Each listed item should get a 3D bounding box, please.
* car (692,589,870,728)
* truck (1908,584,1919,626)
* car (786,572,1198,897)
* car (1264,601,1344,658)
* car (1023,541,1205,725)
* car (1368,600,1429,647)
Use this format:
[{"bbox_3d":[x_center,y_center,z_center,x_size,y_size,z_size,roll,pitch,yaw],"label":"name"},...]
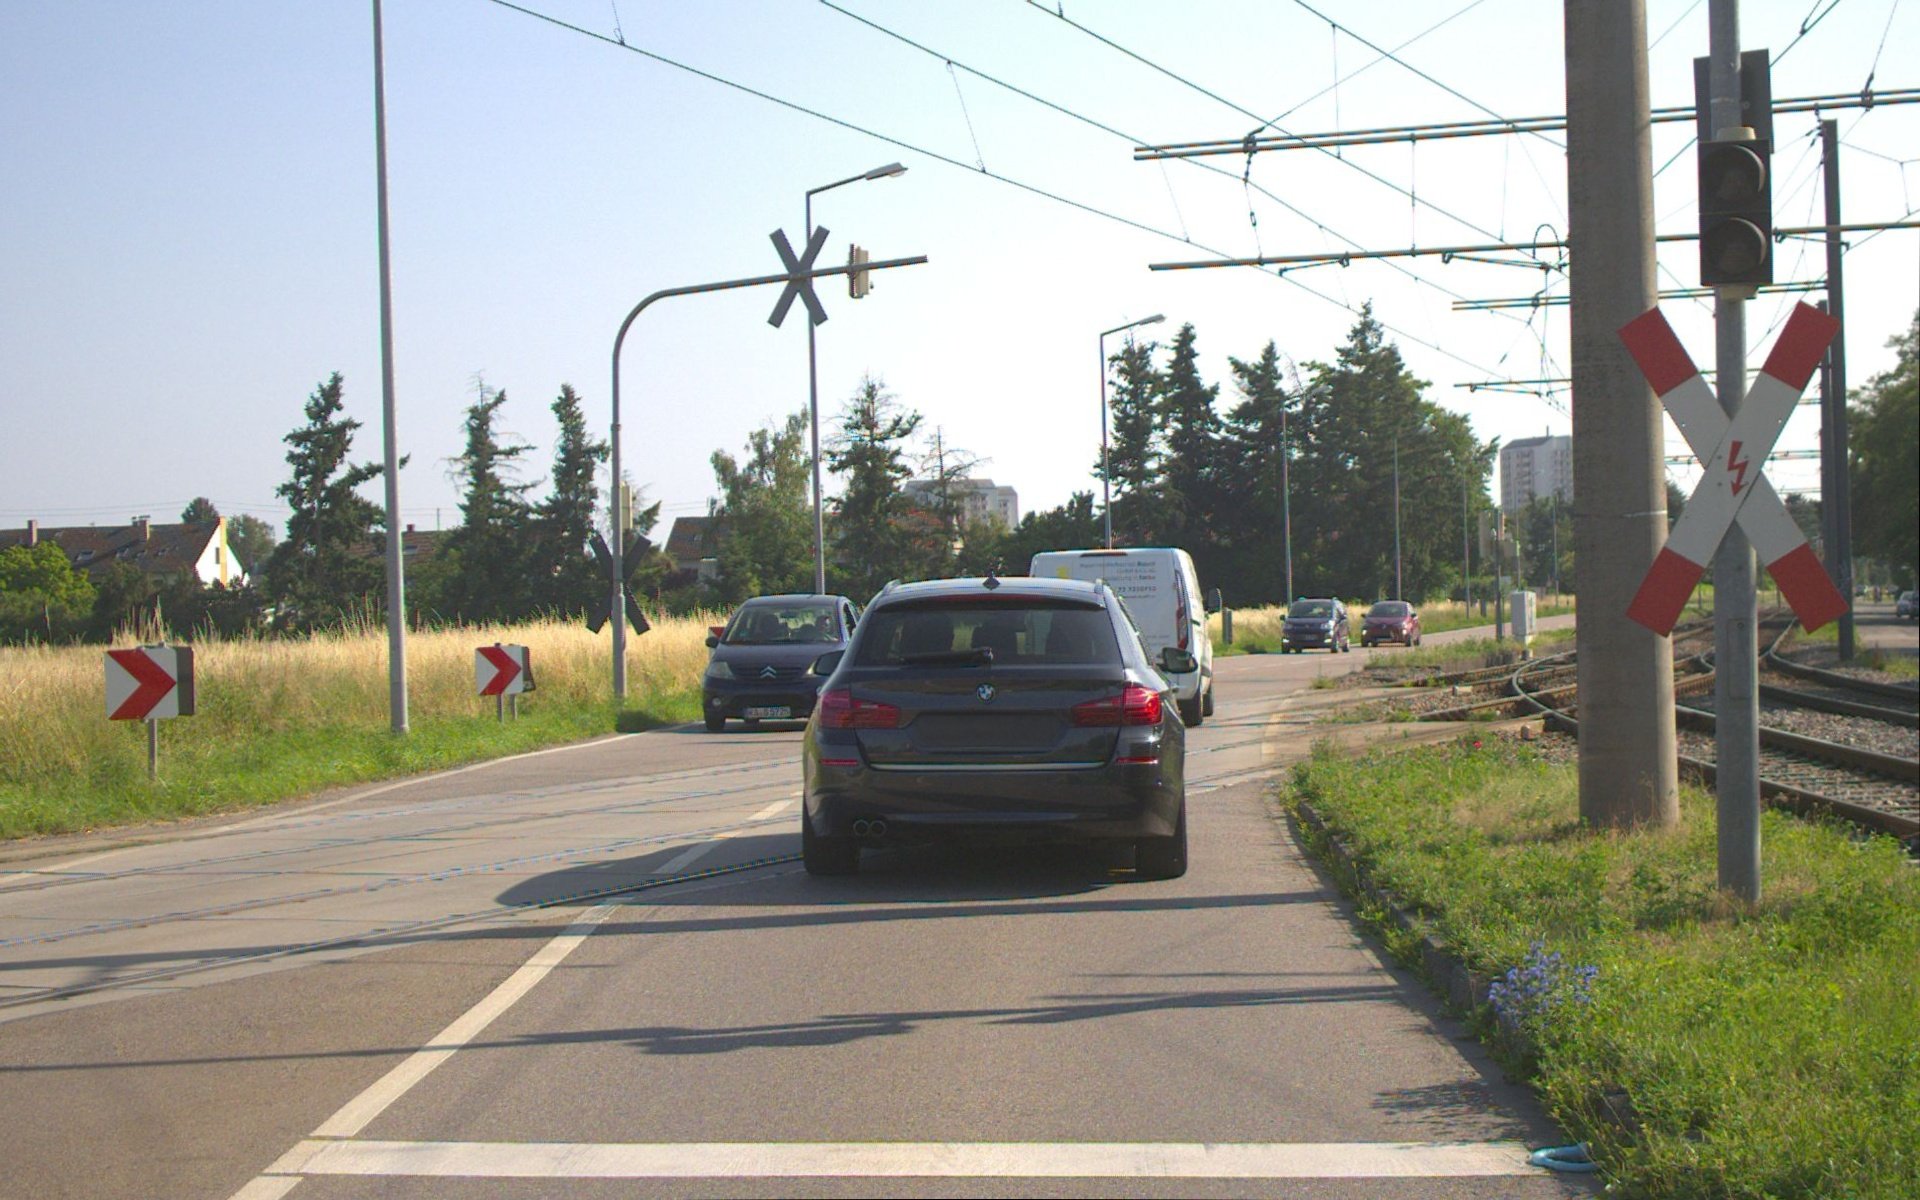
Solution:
[{"bbox_3d":[-2.018,0.656,39.719,1.624,1.489,3.999,-2,0,3],"label":"car"},{"bbox_3d":[43.178,0.192,152.029,2.206,1.813,5.925,-1,0,14],"label":"truck"},{"bbox_3d":[0.148,0.592,18.014,1.869,1.447,4.744,0,1,0],"label":"car"},{"bbox_3d":[10.489,0.876,104.581,1.707,1.659,4.587,-1,0,14],"label":"car"},{"bbox_3d":[1.844,0.349,39.620,1.858,1.981,5.107,0,0,5],"label":"car"},{"bbox_3d":[15.150,0.804,118.566,1.713,1.544,3.926,-1,0,13],"label":"car"}]
